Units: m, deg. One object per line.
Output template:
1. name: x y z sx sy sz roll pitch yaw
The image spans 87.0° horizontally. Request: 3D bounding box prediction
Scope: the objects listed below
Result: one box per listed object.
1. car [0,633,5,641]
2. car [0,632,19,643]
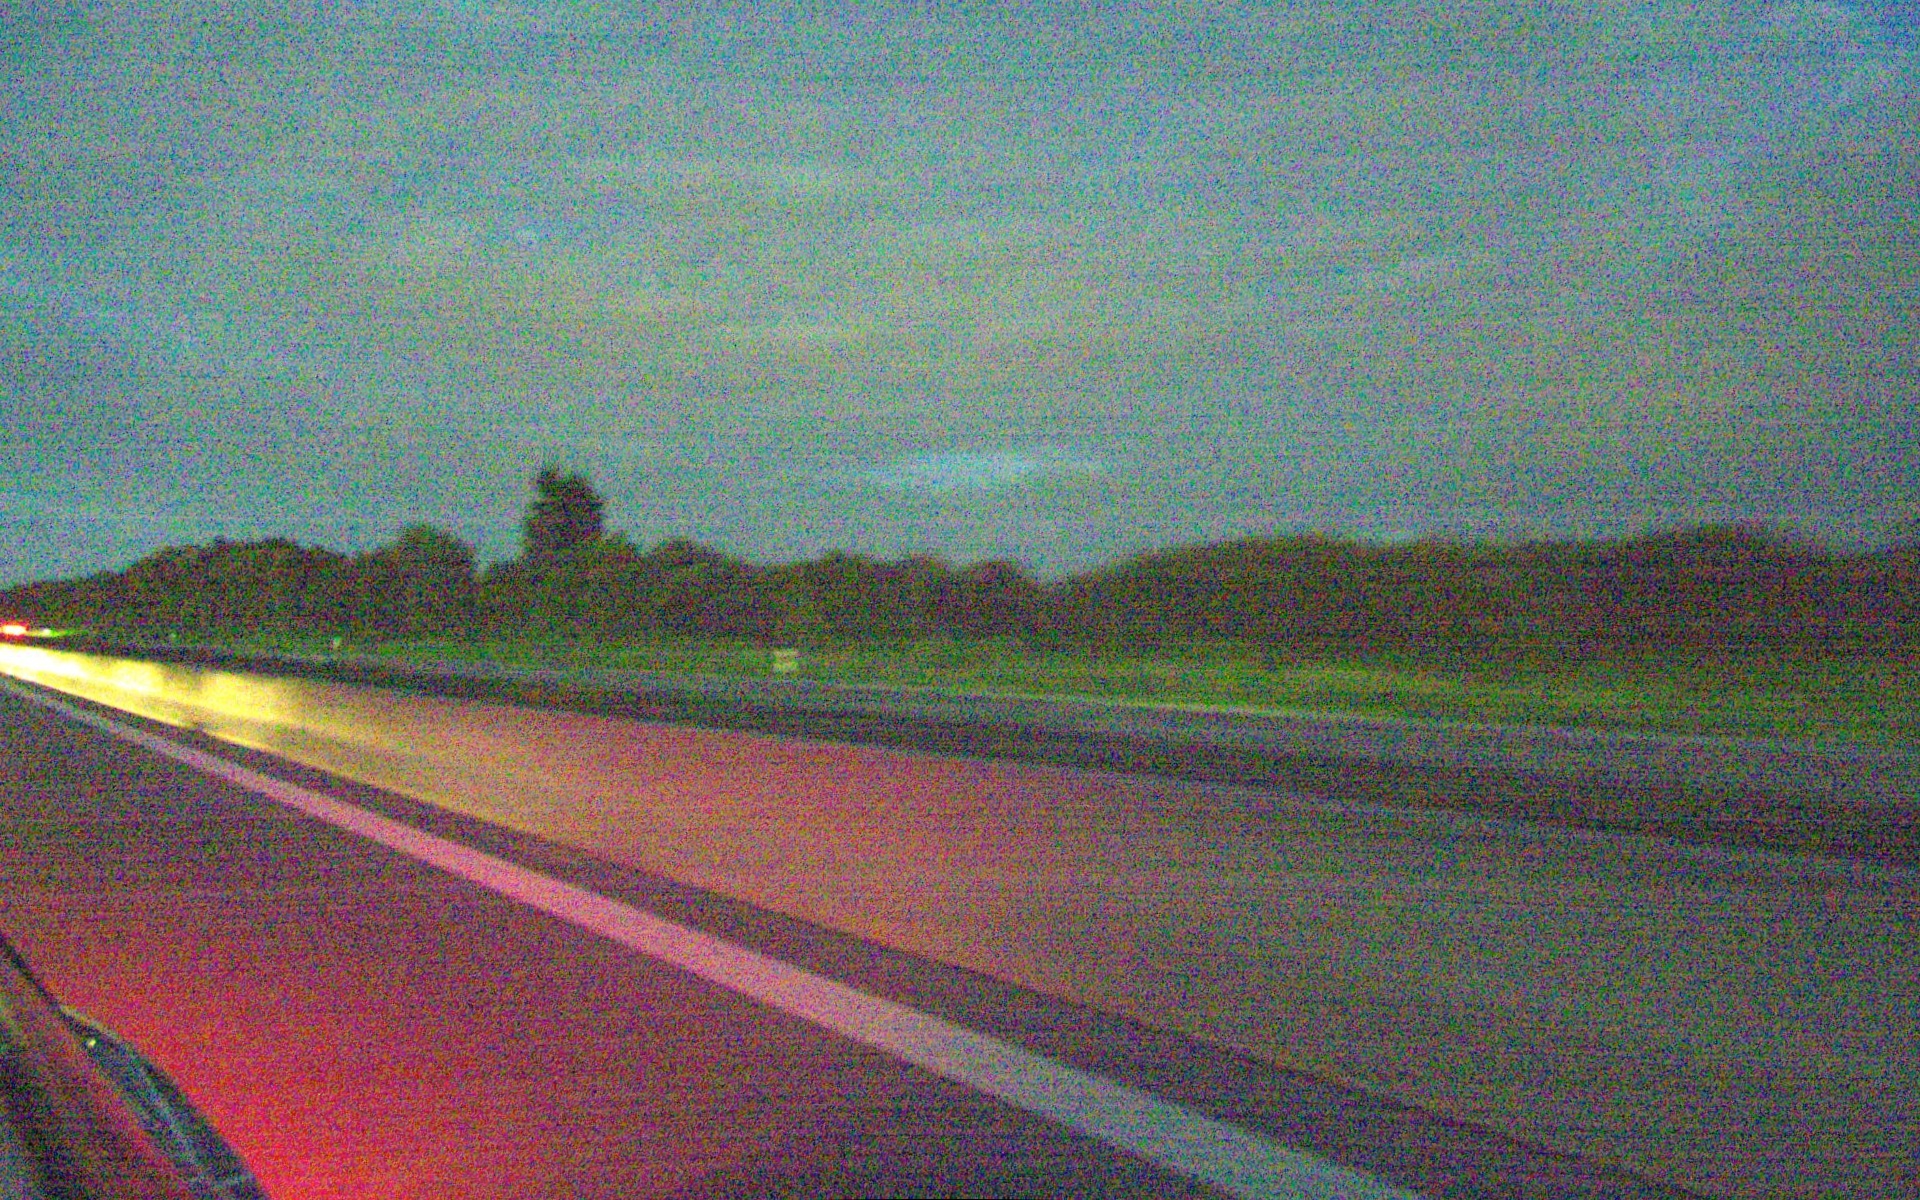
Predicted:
1. car: -163.400 6.291 171.469 4.349 1.292 1.883 -2 -3 42
2. car: -137.417 5.361 146.092 5.184 1.549 1.943 -2 -3 42
